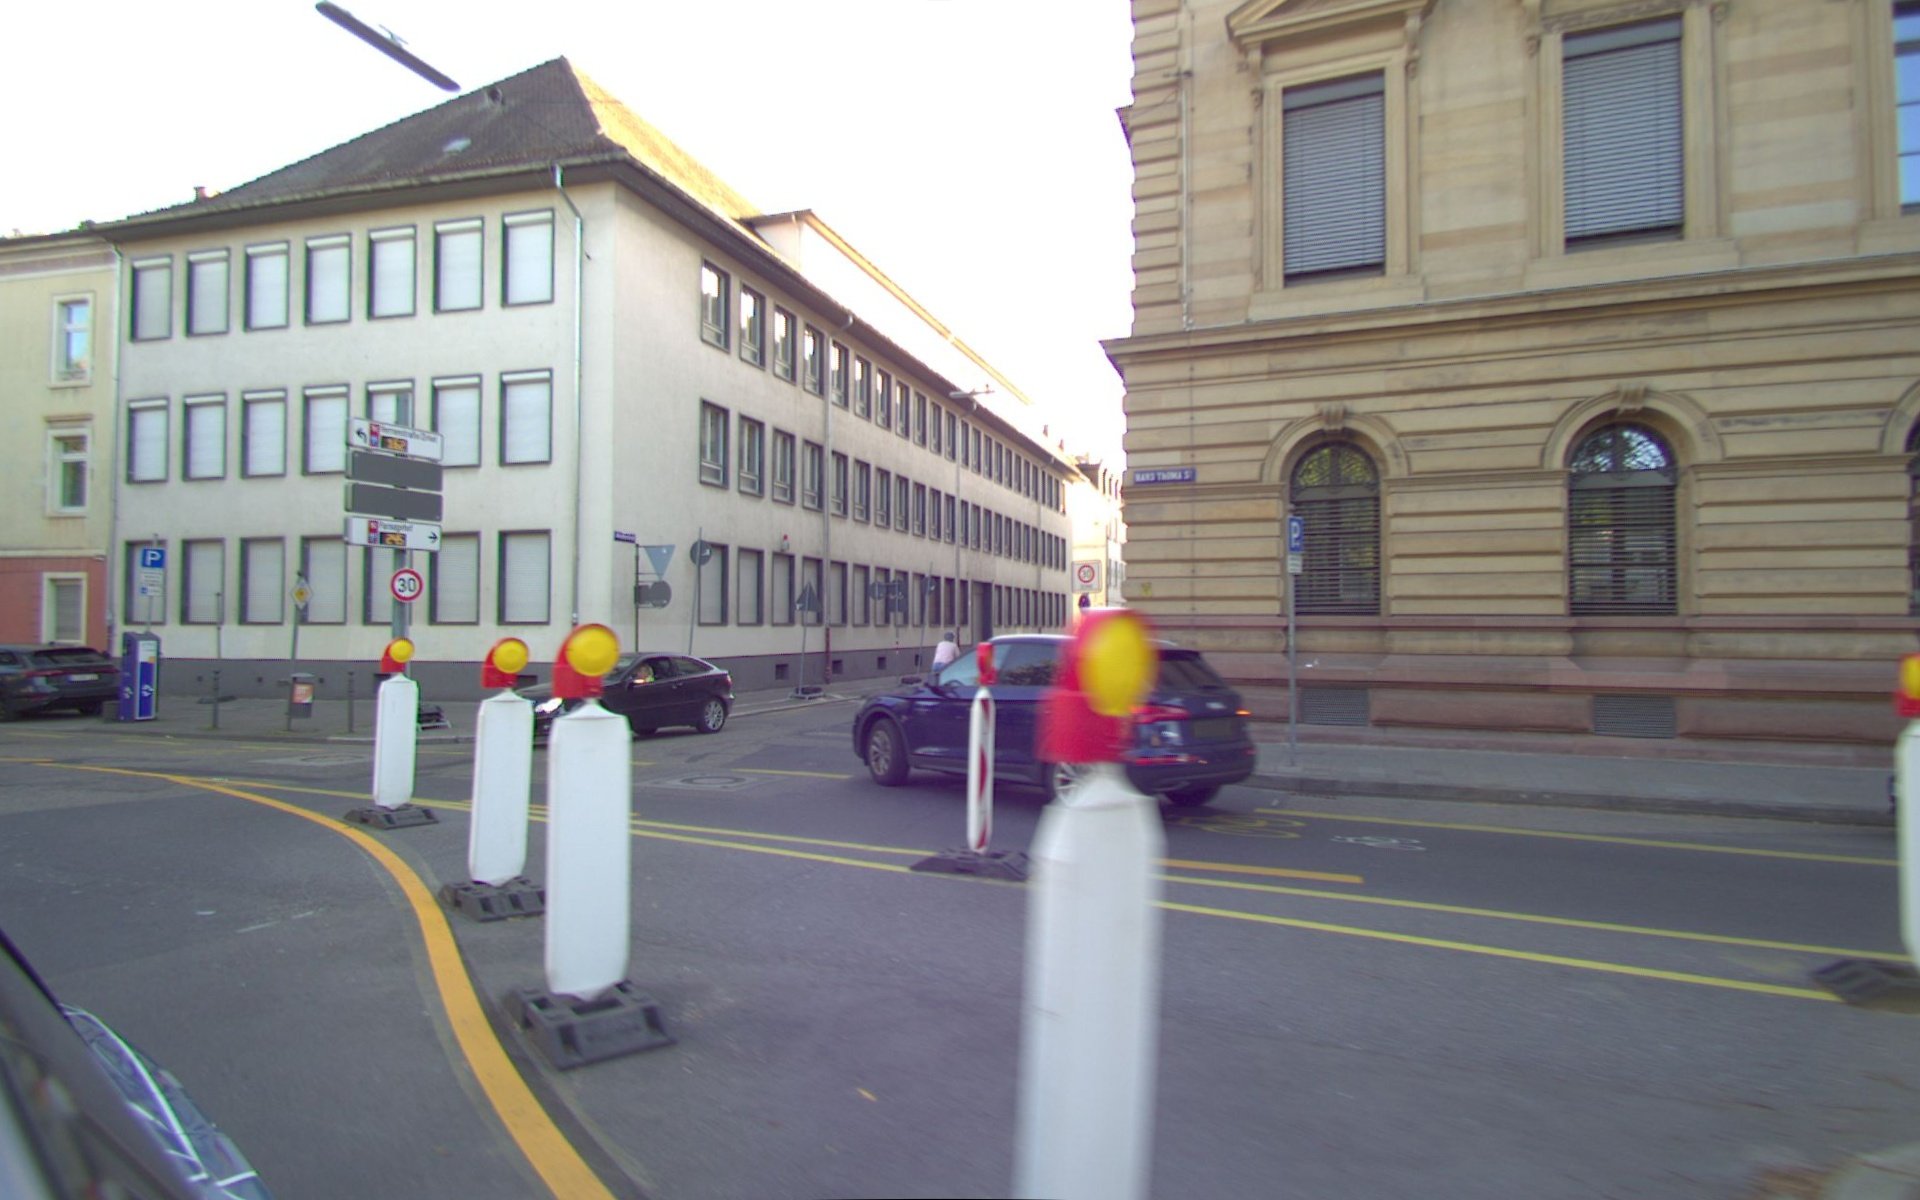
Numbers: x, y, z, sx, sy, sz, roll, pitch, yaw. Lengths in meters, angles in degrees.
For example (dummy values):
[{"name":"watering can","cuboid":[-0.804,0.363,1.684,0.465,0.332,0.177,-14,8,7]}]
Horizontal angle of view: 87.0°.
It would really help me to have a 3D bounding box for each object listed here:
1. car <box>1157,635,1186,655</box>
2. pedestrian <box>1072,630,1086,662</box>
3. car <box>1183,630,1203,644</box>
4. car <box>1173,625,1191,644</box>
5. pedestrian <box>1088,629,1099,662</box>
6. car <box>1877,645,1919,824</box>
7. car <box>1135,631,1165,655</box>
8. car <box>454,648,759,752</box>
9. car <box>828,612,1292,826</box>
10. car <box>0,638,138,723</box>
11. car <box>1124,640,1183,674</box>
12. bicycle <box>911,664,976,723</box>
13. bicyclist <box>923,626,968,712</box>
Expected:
[{"name":"car","cuboid":[19.000,4.039,90.776,1.985,1.752,3.973,-1,-2,20]},{"name":"pedestrian","cuboid":[6.597,2.532,56.036,0.705,1.786,0.558,-1,-3,17]},{"name":"car","cuboid":[25.323,4.003,109.955,1.738,1.533,3.834,-1,-2,18]},{"name":"car","cuboid":[21.886,3.401,99.724,1.433,1.632,3.456,0,-5,19]},{"name":"pedestrian","cuboid":[7.450,2.543,56.467,0.552,1.794,0.640,-1,-3,17]},{"name":"car","cuboid":[10.211,1.103,7.507,4.614,1.519,1.870,-1,-4,24]},{"name":"car","cuboid":[15.056,3.429,80.063,1.771,1.697,3.974,0,-5,19]},{"name":"car","cuboid":[-5.369,1.461,16.132,1.757,1.332,4.733,-1,-2,26]},{"name":"car","cuboid":[0.781,1.053,10.351,1.854,1.683,4.659,3,-4,-43]},{"name":"car","cuboid":[-19.348,1.557,20.427,4.742,1.519,1.873,0,-1,15]},{"name":"car","cuboid":[8.753,2.511,45.556,1.985,1.453,4.295,-1,-2,19]},{"name":"bicycle","cuboid":[-0.281,1.733,19.114,0.634,0.999,2.114,0,-3,17]},{"name":"bicyclist","cuboid":[-0.268,1.288,19.187,0.638,1.589,0.759,0,-3,17]}]
